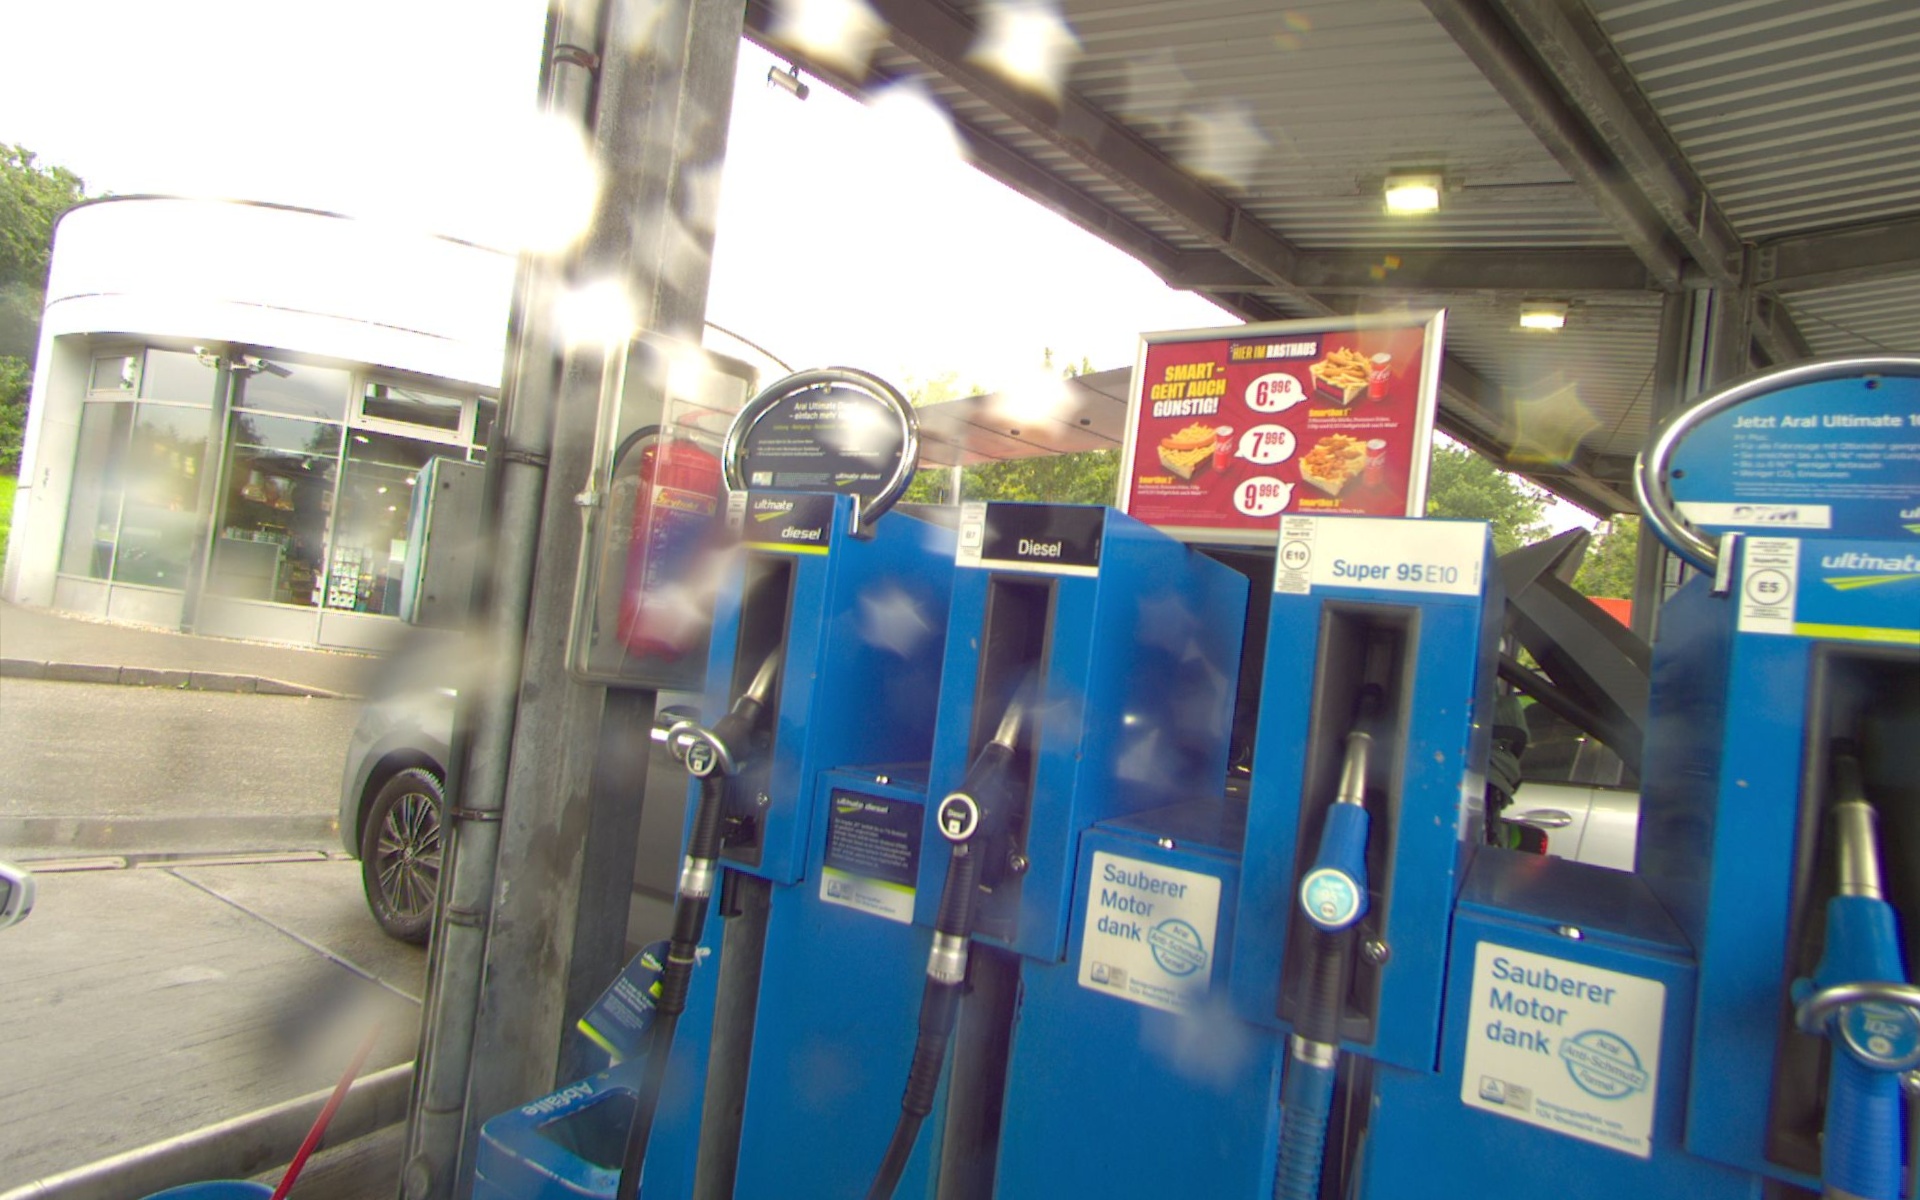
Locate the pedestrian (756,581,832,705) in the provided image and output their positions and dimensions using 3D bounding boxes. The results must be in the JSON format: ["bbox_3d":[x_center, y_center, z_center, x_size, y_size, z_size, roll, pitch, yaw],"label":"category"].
[{"bbox_3d":[-2.541,0.644,15.380,0.786,1.755,0.835,7,0,-23],"label":"pedestrian"}]

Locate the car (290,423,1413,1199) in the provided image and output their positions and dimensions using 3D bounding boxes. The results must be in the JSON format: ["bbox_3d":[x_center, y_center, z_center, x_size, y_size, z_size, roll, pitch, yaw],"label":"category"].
[{"bbox_3d":[-0.573,0.521,3.974,3.934,1.971,1.819,7,-1,32],"label":"car"}]
